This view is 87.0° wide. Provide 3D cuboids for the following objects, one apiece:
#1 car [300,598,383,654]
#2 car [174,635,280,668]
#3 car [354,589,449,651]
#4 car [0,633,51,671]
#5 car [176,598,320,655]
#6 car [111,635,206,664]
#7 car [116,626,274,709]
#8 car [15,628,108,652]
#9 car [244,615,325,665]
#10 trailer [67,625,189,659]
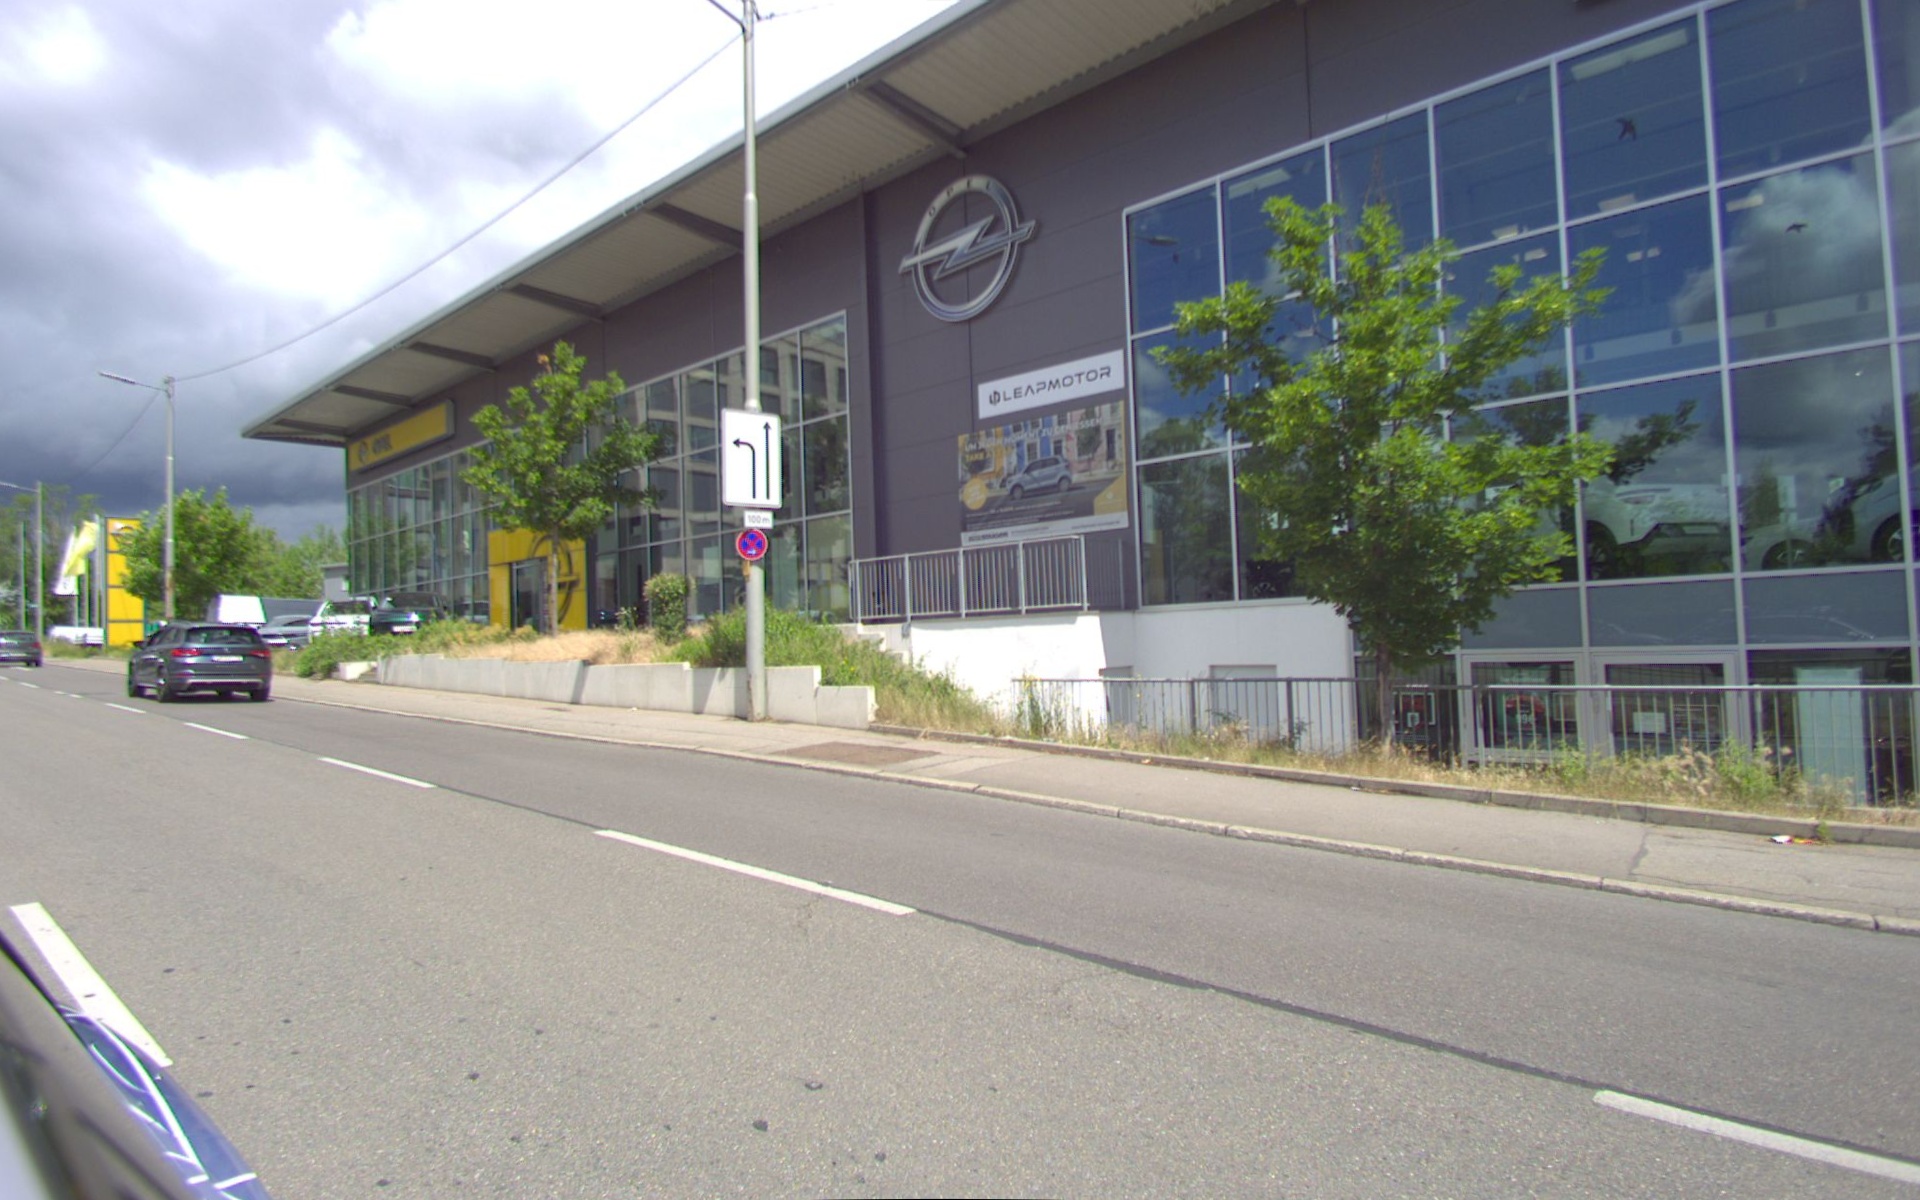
[{"bbox_3d":[-19.276,0.813,31.692,1.767,1.625,4.122,0,-1,-25],"label":"car"},{"bbox_3d":[-35.556,2.476,49.185,1.559,1.539,3.897,-2,-2,38],"label":"car"},{"bbox_3d":[-15.674,0.585,28.578,1.790,1.625,4.122,0,-2,-21],"label":"car"},{"bbox_3d":[-37.467,2.045,40.037,3.732,1.424,1.740,-2,-4,41],"label":"car"},{"bbox_3d":[-29.360,1.076,41.852,2.177,2.211,4.475,-1,-1,39],"label":"car"},{"bbox_3d":[-42.023,2.557,53.098,1.814,1.420,3.621,-2,-2,42],"label":"car"},{"bbox_3d":[-15.736,1.299,20.757,3.955,1.533,1.741,-1,-2,40],"label":"car"},{"bbox_3d":[-57.617,2.569,64.938,2.093,1.493,4.200,-2,-2,38],"label":"car"},{"bbox_3d":[-23.476,1.388,35.287,1.767,1.625,4.122,1,-2,-26],"label":"car"},{"bbox_3d":[-45.327,2.242,55.221,2.092,1.765,4.776,-2,-2,37],"label":"trailer"}]
